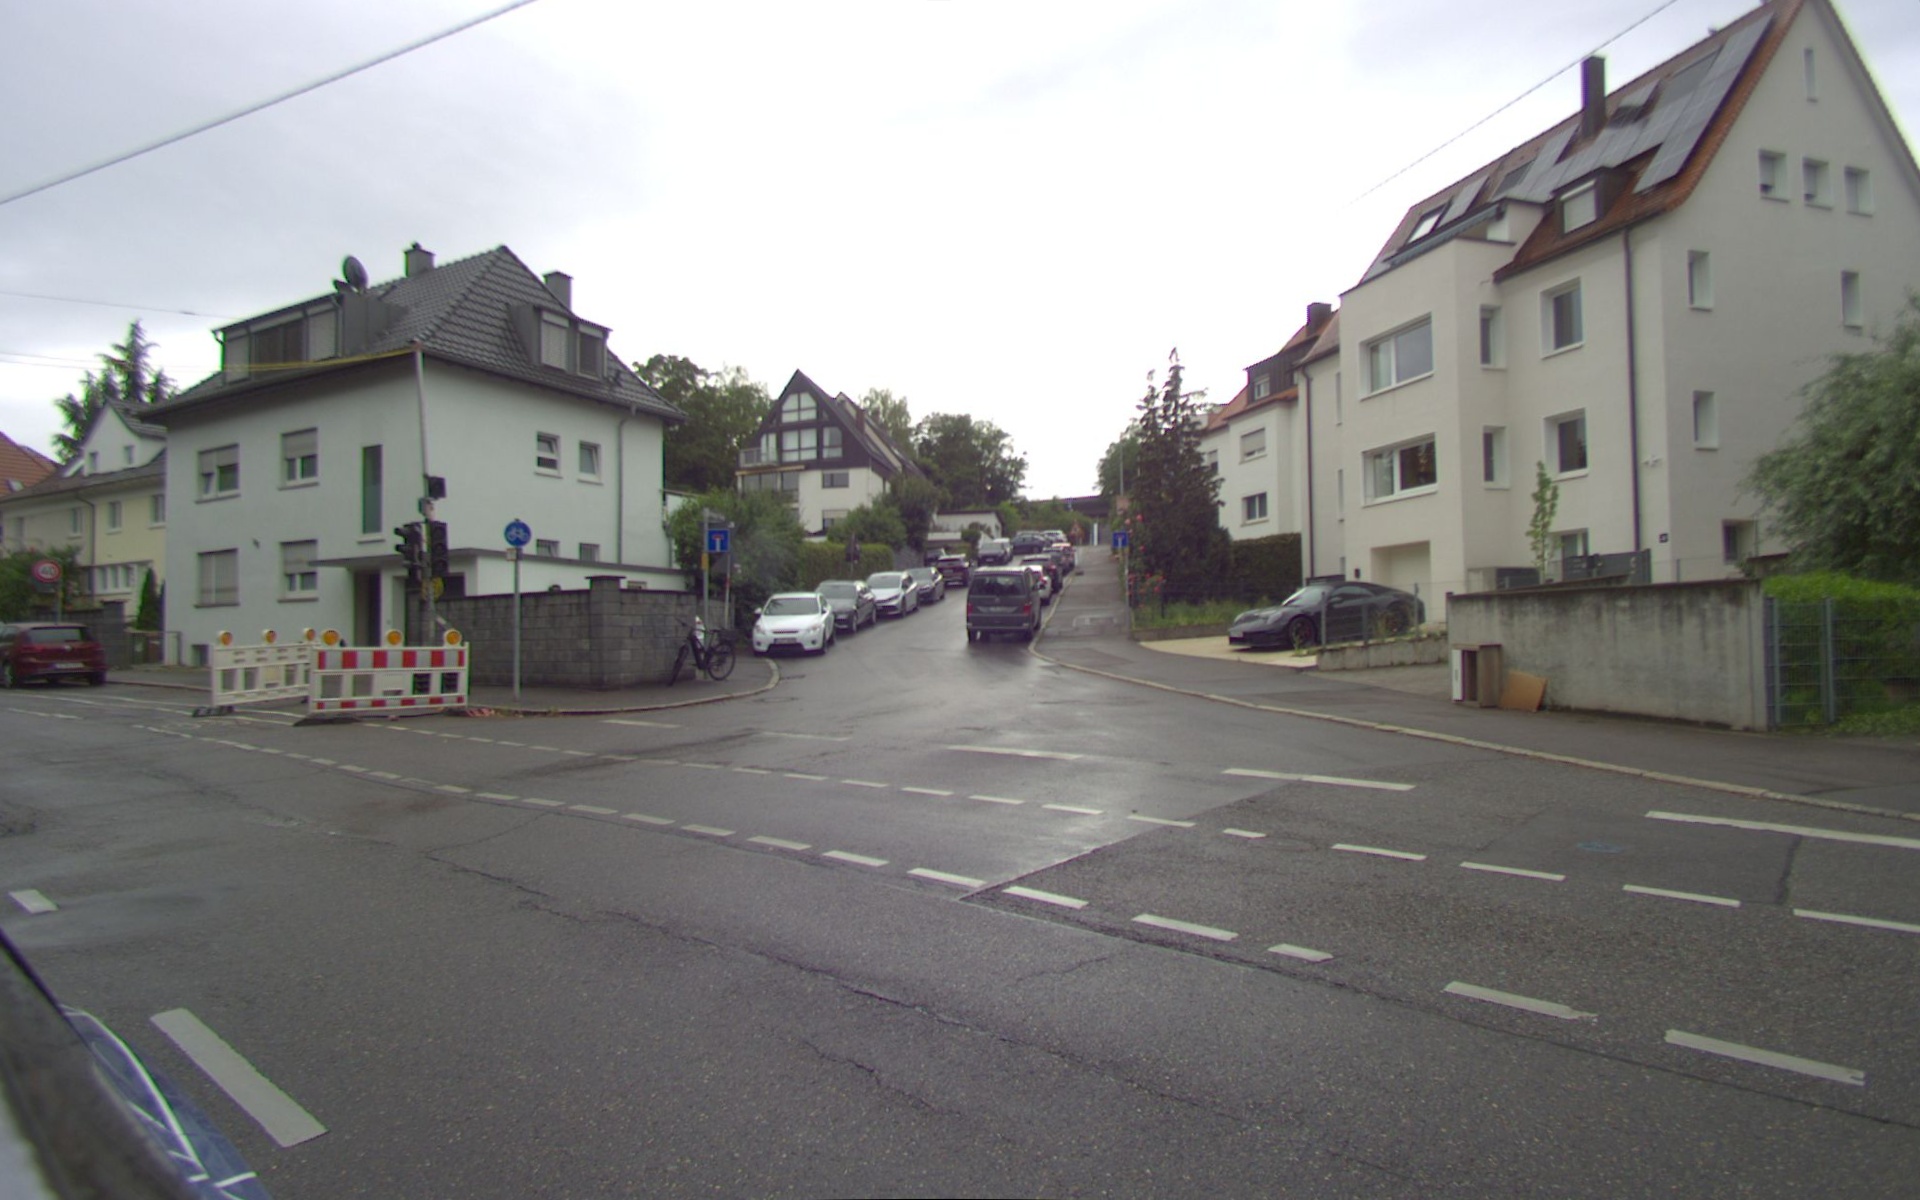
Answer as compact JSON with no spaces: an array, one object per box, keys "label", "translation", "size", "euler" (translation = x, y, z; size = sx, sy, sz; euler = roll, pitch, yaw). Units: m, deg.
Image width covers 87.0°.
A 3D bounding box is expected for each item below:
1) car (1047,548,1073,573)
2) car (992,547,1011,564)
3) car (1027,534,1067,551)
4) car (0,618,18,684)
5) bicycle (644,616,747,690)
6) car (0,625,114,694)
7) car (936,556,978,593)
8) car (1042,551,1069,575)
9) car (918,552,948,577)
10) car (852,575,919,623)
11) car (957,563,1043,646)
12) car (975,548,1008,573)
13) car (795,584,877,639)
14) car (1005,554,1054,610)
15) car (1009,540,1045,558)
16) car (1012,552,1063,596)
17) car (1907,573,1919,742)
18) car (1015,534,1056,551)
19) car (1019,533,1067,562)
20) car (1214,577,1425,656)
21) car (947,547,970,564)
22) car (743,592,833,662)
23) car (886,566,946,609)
[{"label":"car","translation":[6.236,-2.443,62.851],"size":[1.488,1.373,3.465],"euler":[-1,0,8]},{"label":"car","translation":[3.057,-3.321,74.714],"size":[1.292,1.206,2.980],"euler":[-1,3,5]},{"label":"car","translation":[8.937,-5.893,103.918],"size":[3.782,1.529,1.664],"euler":[-1,-1,15]},{"label":"car","translation":[-26.154,1.318,25.776],"size":[4.131,1.653,1.782],"euler":[-1,-1,25]},{"label":"bicycle","translation":[-4.786,0.933,18.460],"size":[0.508,1.249,1.984],"euler":[1,0,32]},{"label":"car","translation":[-21.469,1.335,23.385],"size":[3.833,1.443,1.768],"euler":[-1,-1,30]},{"label":"car","translation":[-0.115,-1.359,52.468],"size":[1.623,1.637,3.992],"euler":[-1,5,8]},{"label":"car","translation":[5.502,-2.139,58.115],"size":[1.274,1.325,2.984],"euler":[-1,3,10]},{"label":"car","translation":[-1.828,-2.414,69.796],"size":[1.793,1.566,4.009],"euler":[-1,0,3]},{"label":"car","translation":[-2.659,-0.082,37.090],"size":[1.738,1.481,3.940],"euler":[-1,4,6]},{"label":"car","translation":[1.241,0.052,29.328],"size":[1.978,2.028,4.482],"euler":[-1,4,9]},{"label":"car","translation":[2.195,-2.666,68.889],"size":[1.770,1.531,4.016],"euler":[-1,0,9]},{"label":"car","translation":[-3.828,0.321,31.821],"size":[1.702,1.397,3.900],"euler":[-1,4,6]},{"label":"car","translation":[2.819,-0.751,40.327],"size":[1.686,1.843,4.194],"euler":[-1,6,7]},{"label":"car","translation":[5.552,-4.193,83.657],"size":[2.914,1.328,1.282],"euler":[-1,0,4]},{"label":"car","translation":[3.520,-1.190,45.379],"size":[1.823,1.699,4.039],"euler":[-1,5,11]},{"label":"car","translation":[10.604,0.424,8.552],"size":[3.934,1.497,1.780],"euler":[-2,-1,-12]},{"label":"car","translation":[7.390,-5.583,98.792],"size":[3.922,1.528,1.748],"euler":[-1,0,6]},{"label":"car","translation":[7.201,-4.556,87.646],"size":[3.954,2.028,1.995],"euler":[-5,-1,8]},{"label":"car","translation":[7.706,0.336,21.775],"size":[3.942,1.290,1.613],"euler":[-5,1,-13]},{"label":"car","translation":[-0.083,-3.254,74.024],"size":[1.559,1.220,3.650],"euler":[-1,3,2]},{"label":"car","translation":[-4.355,0.626,26.159],"size":[1.827,1.473,4.124],"euler":[-1,3,-3]},{"label":"car","translation":[-1.808,-0.550,42.962],"size":[1.903,1.448,4.100],"euler":[-1,5,7]}]
